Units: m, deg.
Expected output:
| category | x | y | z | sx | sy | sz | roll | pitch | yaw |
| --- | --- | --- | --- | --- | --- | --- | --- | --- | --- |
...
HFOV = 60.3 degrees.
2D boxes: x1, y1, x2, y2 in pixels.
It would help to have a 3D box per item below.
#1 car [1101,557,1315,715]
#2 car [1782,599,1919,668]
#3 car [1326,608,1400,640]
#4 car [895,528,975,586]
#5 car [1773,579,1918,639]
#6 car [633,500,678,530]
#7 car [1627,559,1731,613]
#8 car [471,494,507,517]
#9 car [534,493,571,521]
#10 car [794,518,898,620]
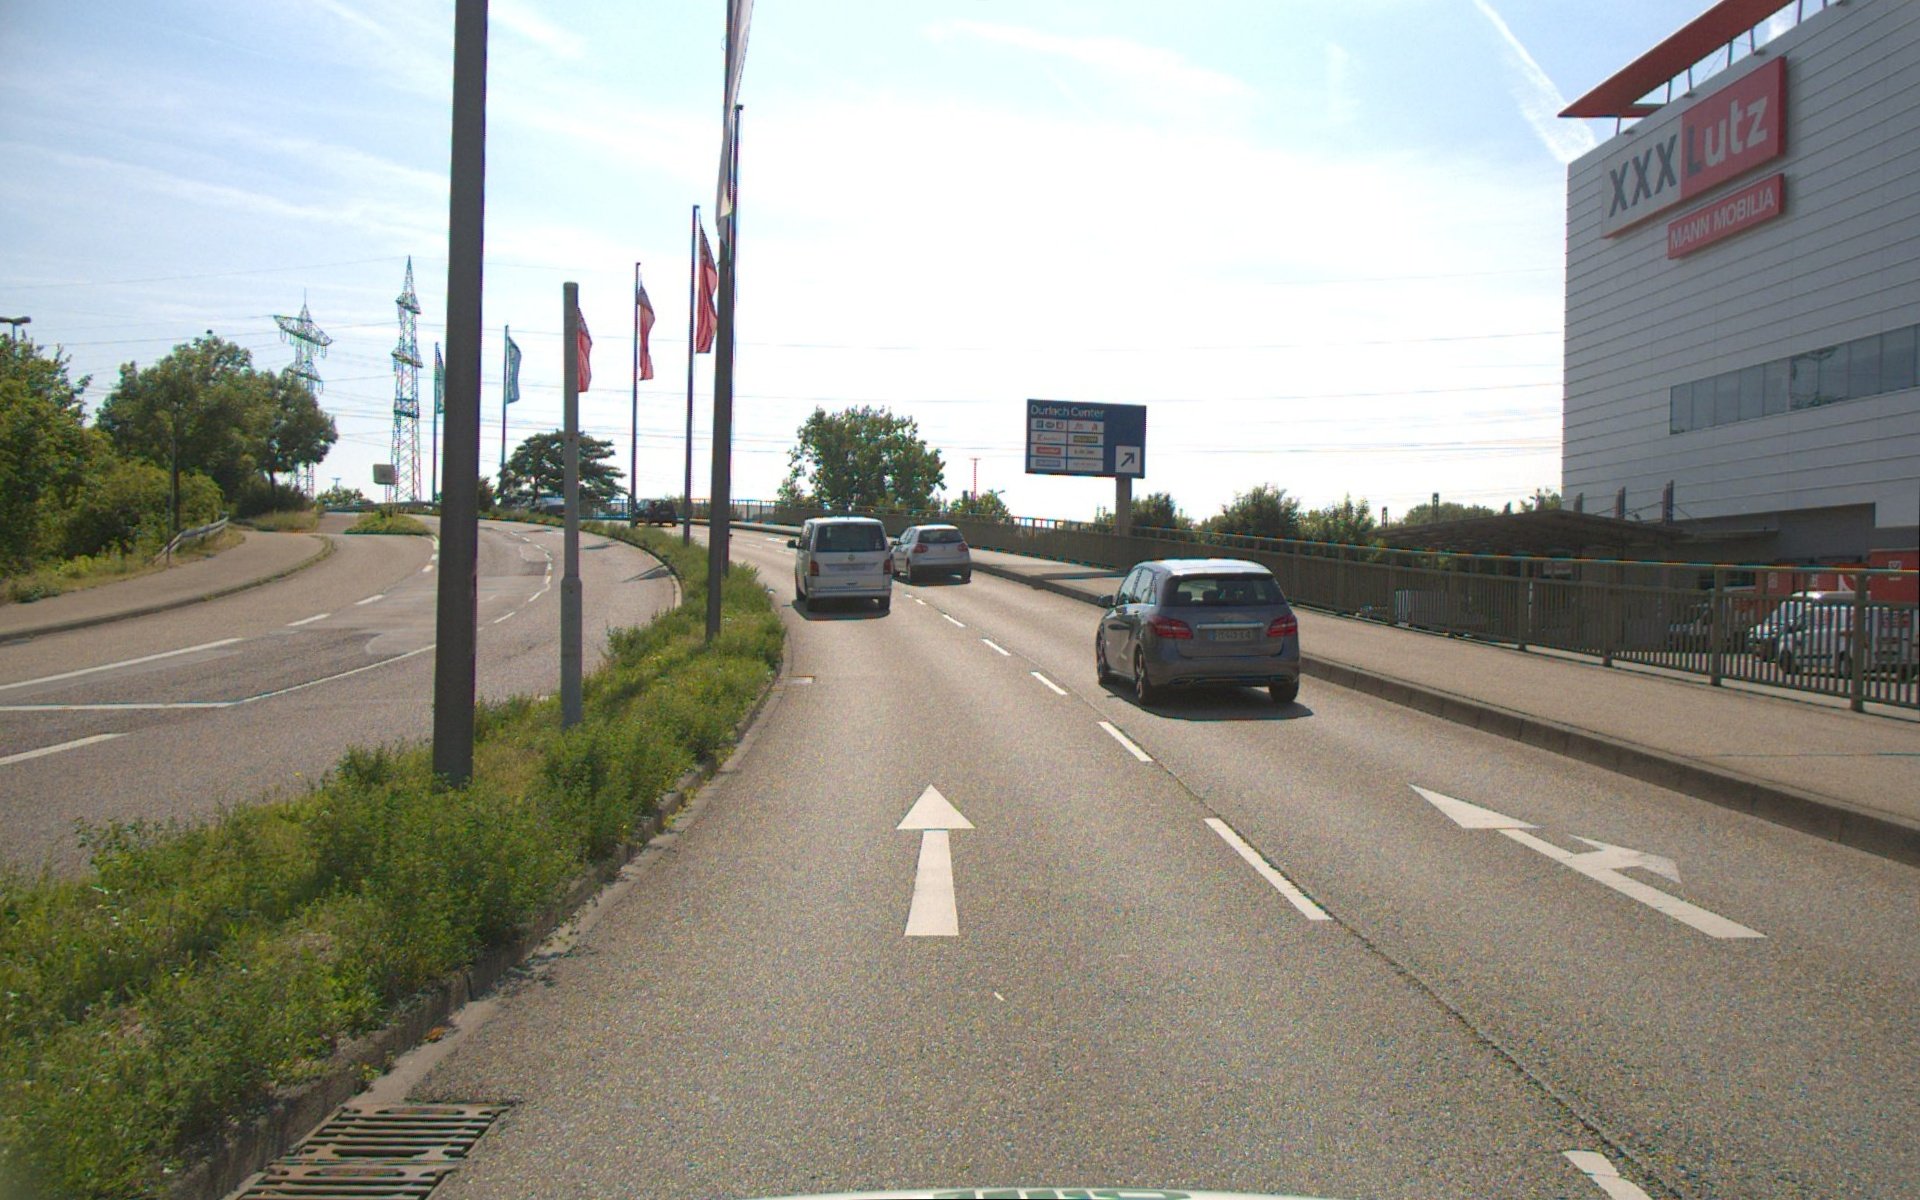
| category | x | y | z | sx | sy | sz | roll | pitch | yaw |
| --- | --- | --- | --- | --- | --- | --- | --- | --- | --- |
| car | 2.774 | 0.322 | 19.375 | 1.738 | 1.565 | 4.137 | -1 | 2 | -2 |
| car | 25.375 | 0.914 | 47.265 | 1.639 | 1.782 | 4.093 | 2 | 1 | -1 |
| car | 20.270 | 1.175 | 83.310 | 1.960 | 1.445 | 3.986 | 4 | -1 | -14 |
| car | -0.733 | -1.227 | 45.797 | 1.636 | 1.438 | 3.675 | -2 | 3 | -10 |
| car | 30.886 | 0.303 | 57.754 | 4.103 | 1.962 | 1.776 | 2 | 1 | -2 |
| car | -16.740 | -4.663 | 90.886 | 1.512 | 1.505 | 3.566 | 1 | 4 | -27 |
| car | 32.699 | -0.657 | 75.277 | 3.998 | 2.313 | 1.678 | 2 | 1 | -2 |
| car | -35.162 | -7.029 | 123.425 | 1.518 | 1.505 | 3.384 | 2 | 0 | -35 |
| car | -24.286 | -5.509 | 98.530 | 1.512 | 1.505 | 3.220 | 2 | 0 | -26 |
| car | -2.612 | -0.768 | 37.036 | 1.882 | 2.009 | 4.289 | -1 | 4 | -10 |
